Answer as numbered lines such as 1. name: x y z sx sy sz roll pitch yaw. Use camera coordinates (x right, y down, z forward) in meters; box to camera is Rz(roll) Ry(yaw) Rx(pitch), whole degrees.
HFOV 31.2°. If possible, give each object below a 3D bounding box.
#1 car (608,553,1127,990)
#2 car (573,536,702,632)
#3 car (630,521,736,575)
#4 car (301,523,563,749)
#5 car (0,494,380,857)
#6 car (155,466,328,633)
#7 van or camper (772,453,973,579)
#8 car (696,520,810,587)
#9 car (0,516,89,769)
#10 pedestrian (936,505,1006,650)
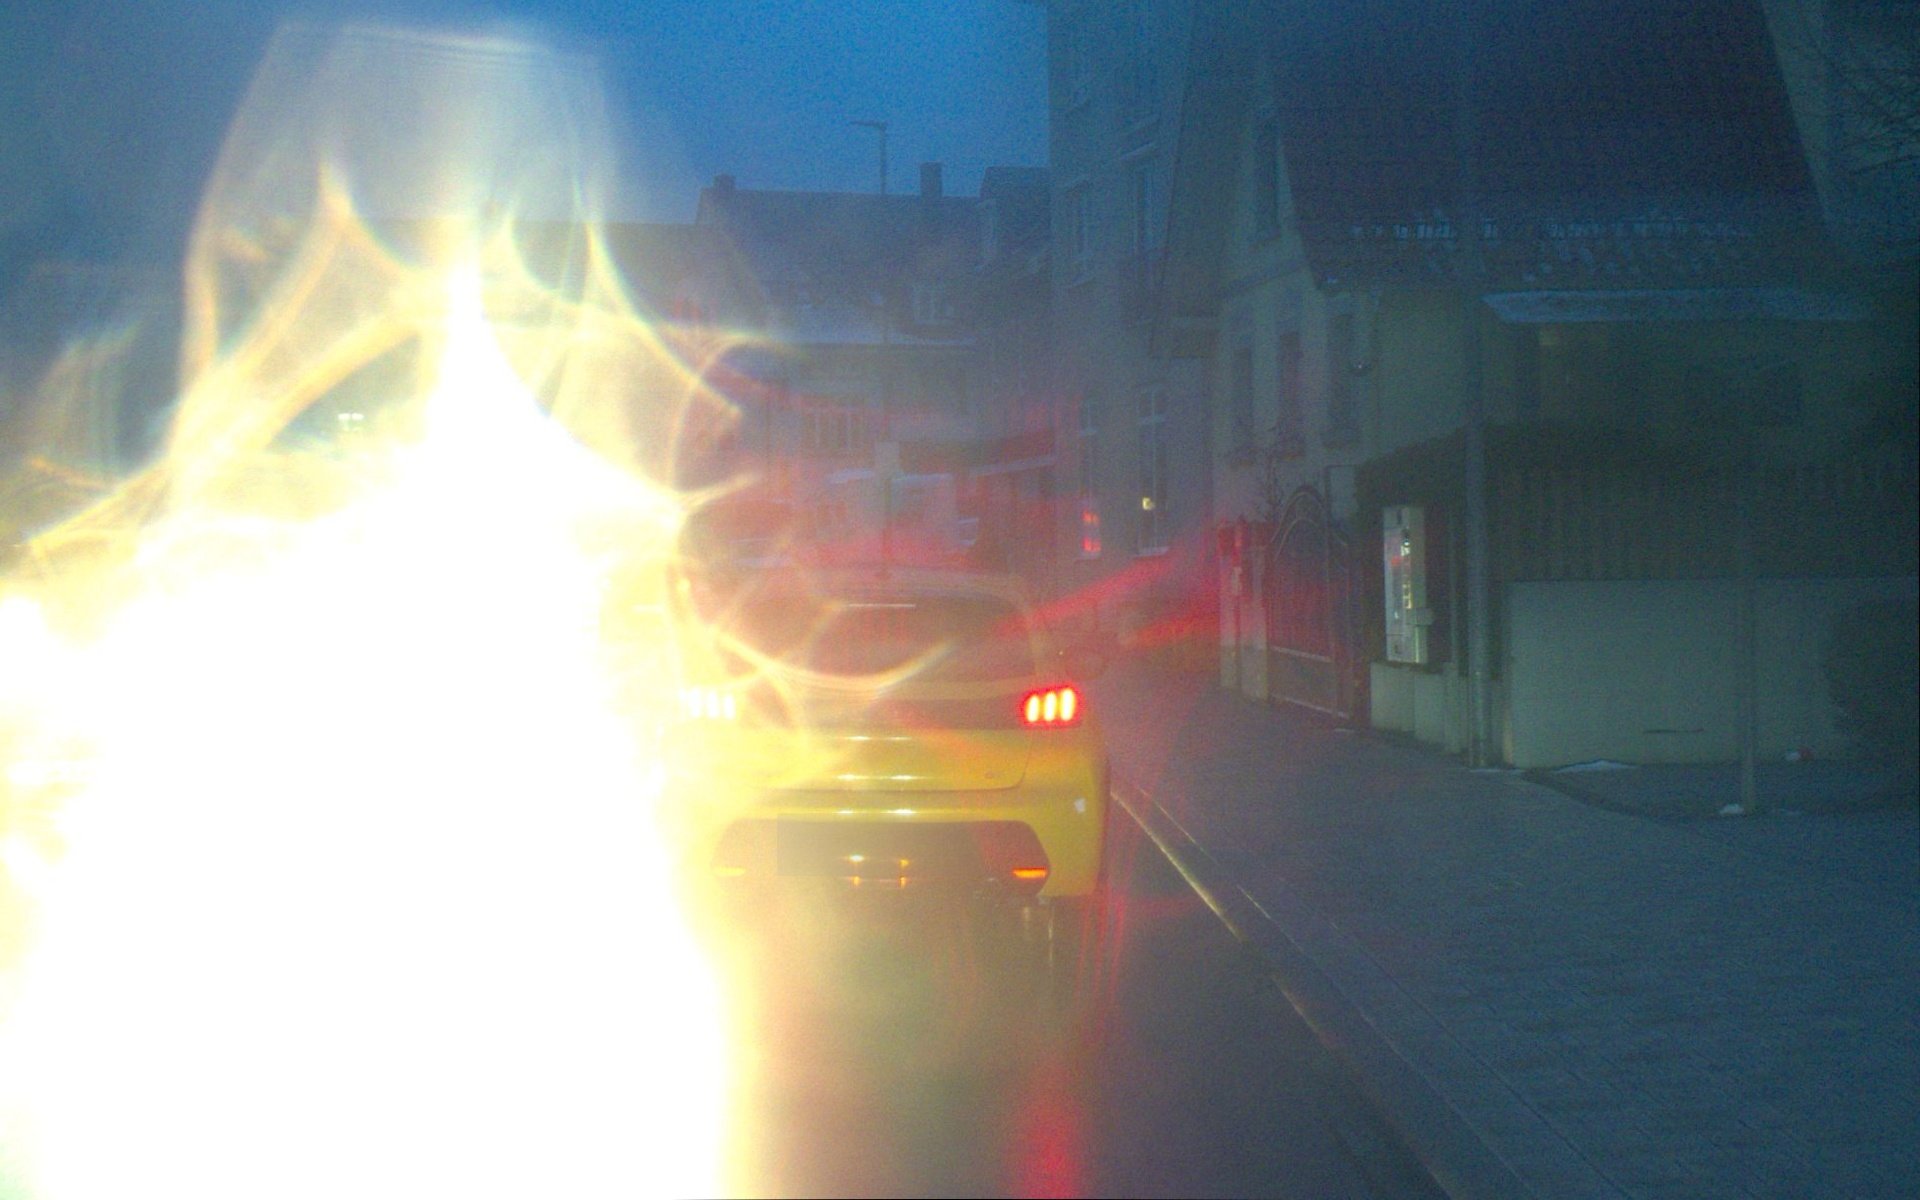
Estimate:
1. car: -0.460 0.583 14.100 1.814 1.528 4.001 1 1 -4
2. car: -5.625 -0.288 59.621 1.993 1.583 4.001 1 1 -9
3. car: -8.207 -1.553 101.397 1.822 1.457 4.550 -3 2 -21
4. car: -4.411 0.235 29.313 1.951 1.541 4.417 -2 4 -6
5. car: -4.535 0.301 19.460 1.993 1.700 4.968 2 2 -4
6. car: -11.753 -0.794 56.673 2.485 2.551 6.763 1 0 -10
7. van or camper: -2.375 -2.188 90.618 2.650 3.037 6.735 -4 2 -25
8. car: -5.438 -1.195 89.725 1.993 1.605 4.175 -3 0 -17
9. car: -7.438 0.269 23.748 1.880 1.704 4.713 1 1 -3
10. pedestrian: 0.131 -0.284 41.697 0.745 1.723 0.873 -1 2 -6
